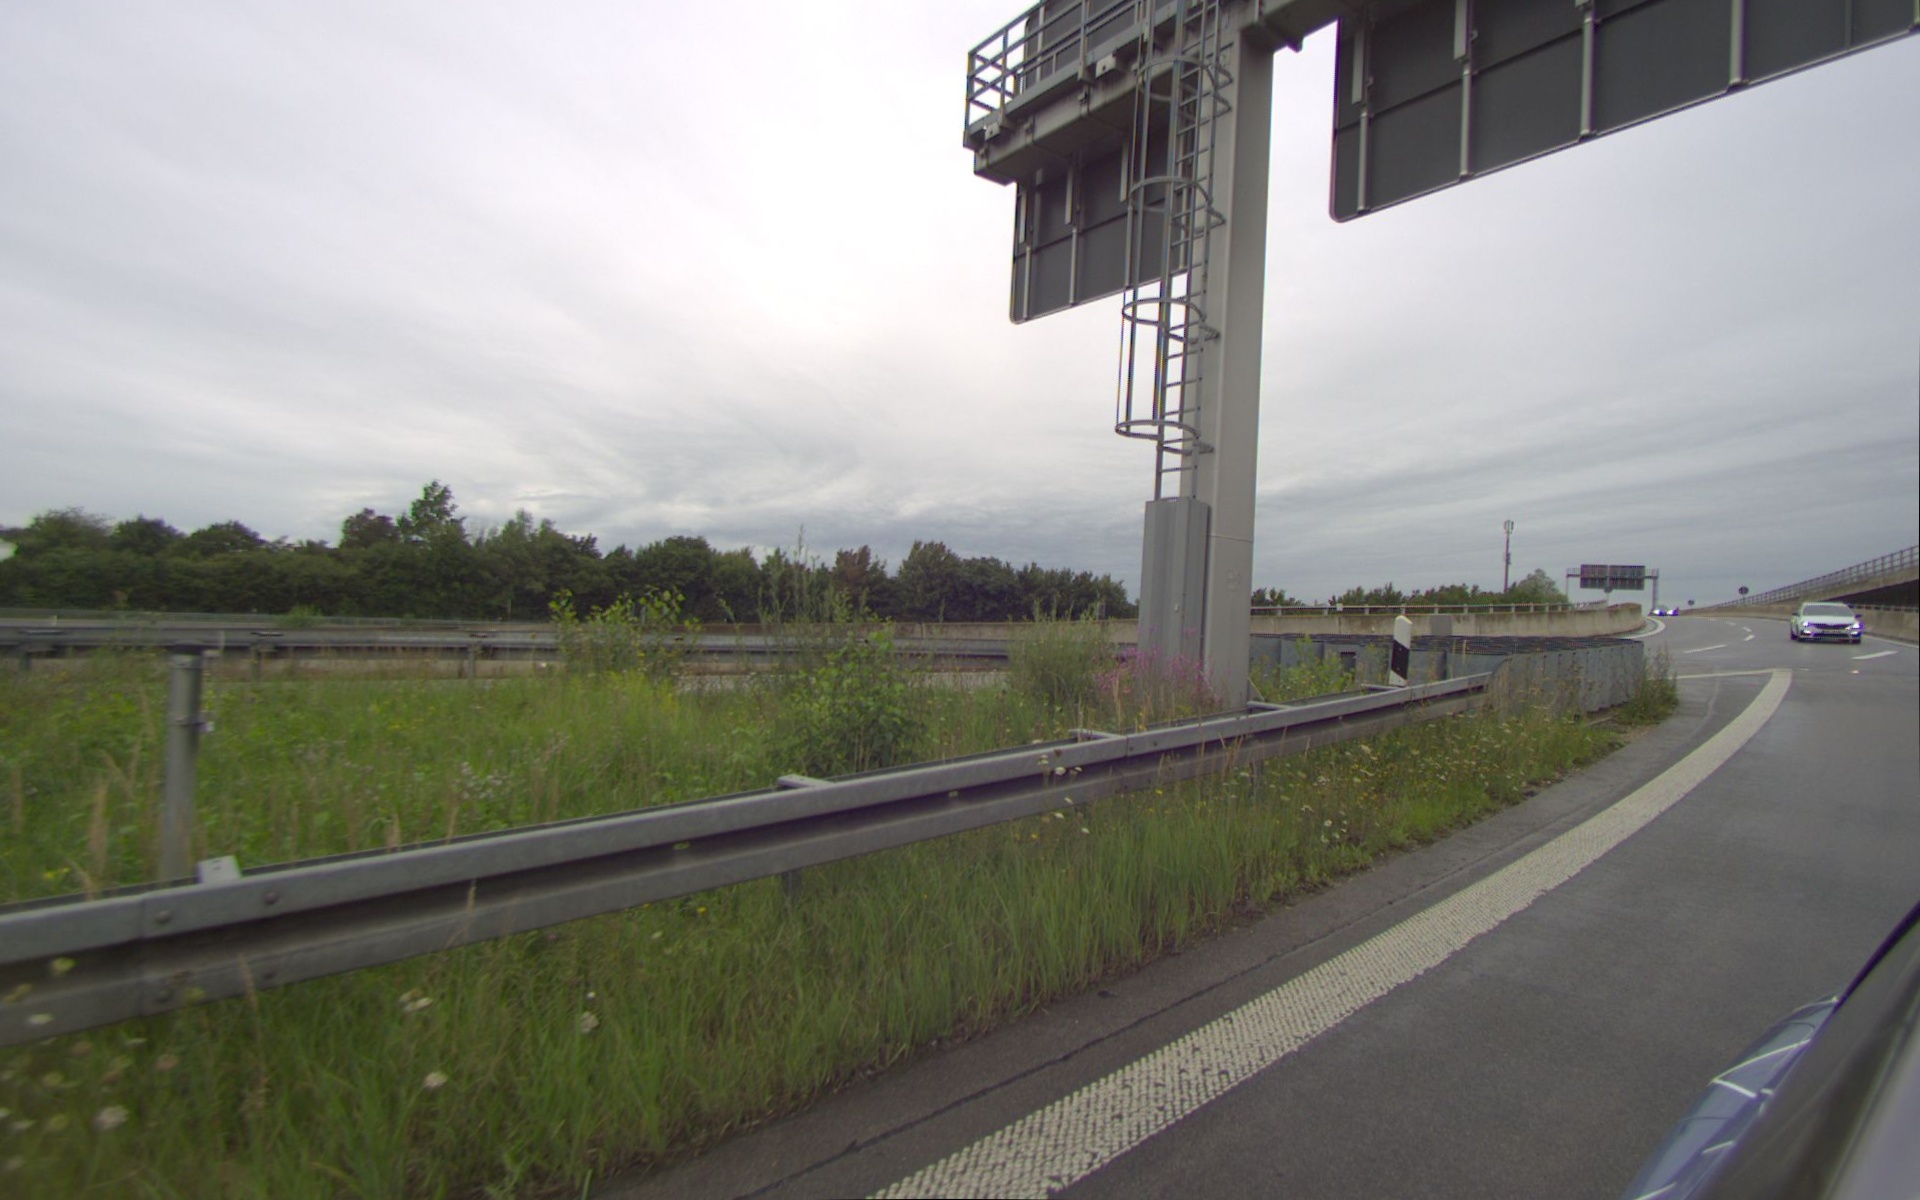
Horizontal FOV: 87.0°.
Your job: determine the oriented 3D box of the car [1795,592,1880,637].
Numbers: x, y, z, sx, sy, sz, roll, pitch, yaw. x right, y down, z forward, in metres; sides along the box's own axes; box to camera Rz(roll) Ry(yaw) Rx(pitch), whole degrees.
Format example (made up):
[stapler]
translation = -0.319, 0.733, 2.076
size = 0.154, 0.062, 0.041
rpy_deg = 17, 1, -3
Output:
[car]
translation = 32.053, 0.501, 37.077
size = 1.905, 1.465, 4.496
rpy_deg = 3, 2, 36
